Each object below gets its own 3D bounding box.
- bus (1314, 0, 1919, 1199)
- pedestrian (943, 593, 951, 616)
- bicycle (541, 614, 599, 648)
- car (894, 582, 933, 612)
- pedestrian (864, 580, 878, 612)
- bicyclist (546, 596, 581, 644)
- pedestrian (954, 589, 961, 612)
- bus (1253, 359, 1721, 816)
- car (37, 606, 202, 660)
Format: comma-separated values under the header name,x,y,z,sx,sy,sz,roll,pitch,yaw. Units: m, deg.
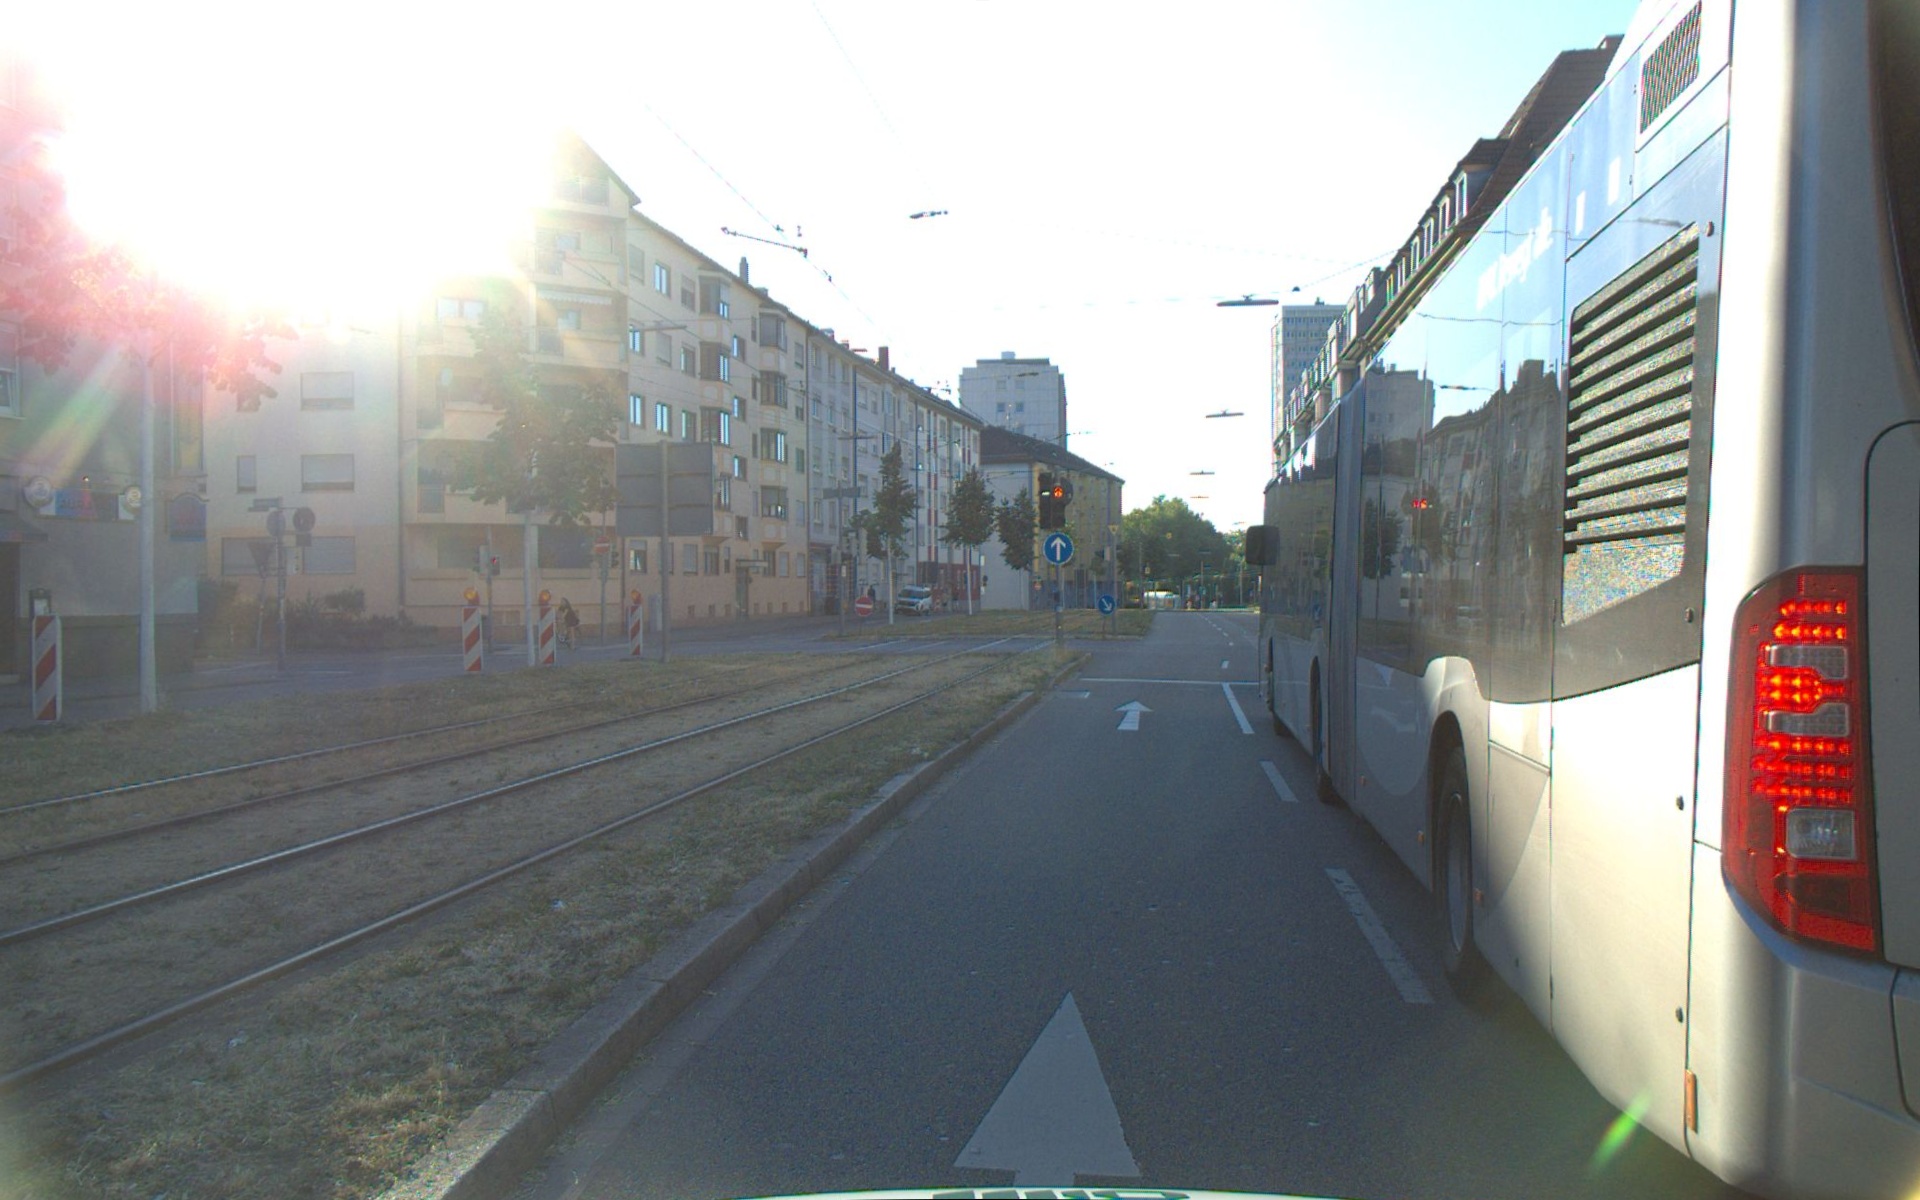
name,x,y,z,sx,sy,sz,roll,pitch,yaw
bus,3.252,-0.086,7.000,2.680,3.109,8.860,1,0,7
pedestrian,-0.983,0.356,124.264,0.485,1.687,0.409,-1,0,8
bicycle,-12.252,0.965,52.050,0.519,1.001,1.875,-1,0,38
car,-3.001,-0.177,107.804,1.773,1.829,4.248,1,0,9
pedestrian,-5.569,-0.250,103.687,0.770,2.049,0.891,-1,0,4
bicyclist,-12.427,0.627,51.842,0.519,1.472,0.961,-1,0,38
pedestrian,-0.199,0.027,124.381,0.485,1.687,0.409,-1,0,8
bus,4.417,-0.133,15.951,2.680,3.109,9.138,1,0,7
car,-24.522,0.956,48.354,3.879,1.465,1.790,-1,0,-3
